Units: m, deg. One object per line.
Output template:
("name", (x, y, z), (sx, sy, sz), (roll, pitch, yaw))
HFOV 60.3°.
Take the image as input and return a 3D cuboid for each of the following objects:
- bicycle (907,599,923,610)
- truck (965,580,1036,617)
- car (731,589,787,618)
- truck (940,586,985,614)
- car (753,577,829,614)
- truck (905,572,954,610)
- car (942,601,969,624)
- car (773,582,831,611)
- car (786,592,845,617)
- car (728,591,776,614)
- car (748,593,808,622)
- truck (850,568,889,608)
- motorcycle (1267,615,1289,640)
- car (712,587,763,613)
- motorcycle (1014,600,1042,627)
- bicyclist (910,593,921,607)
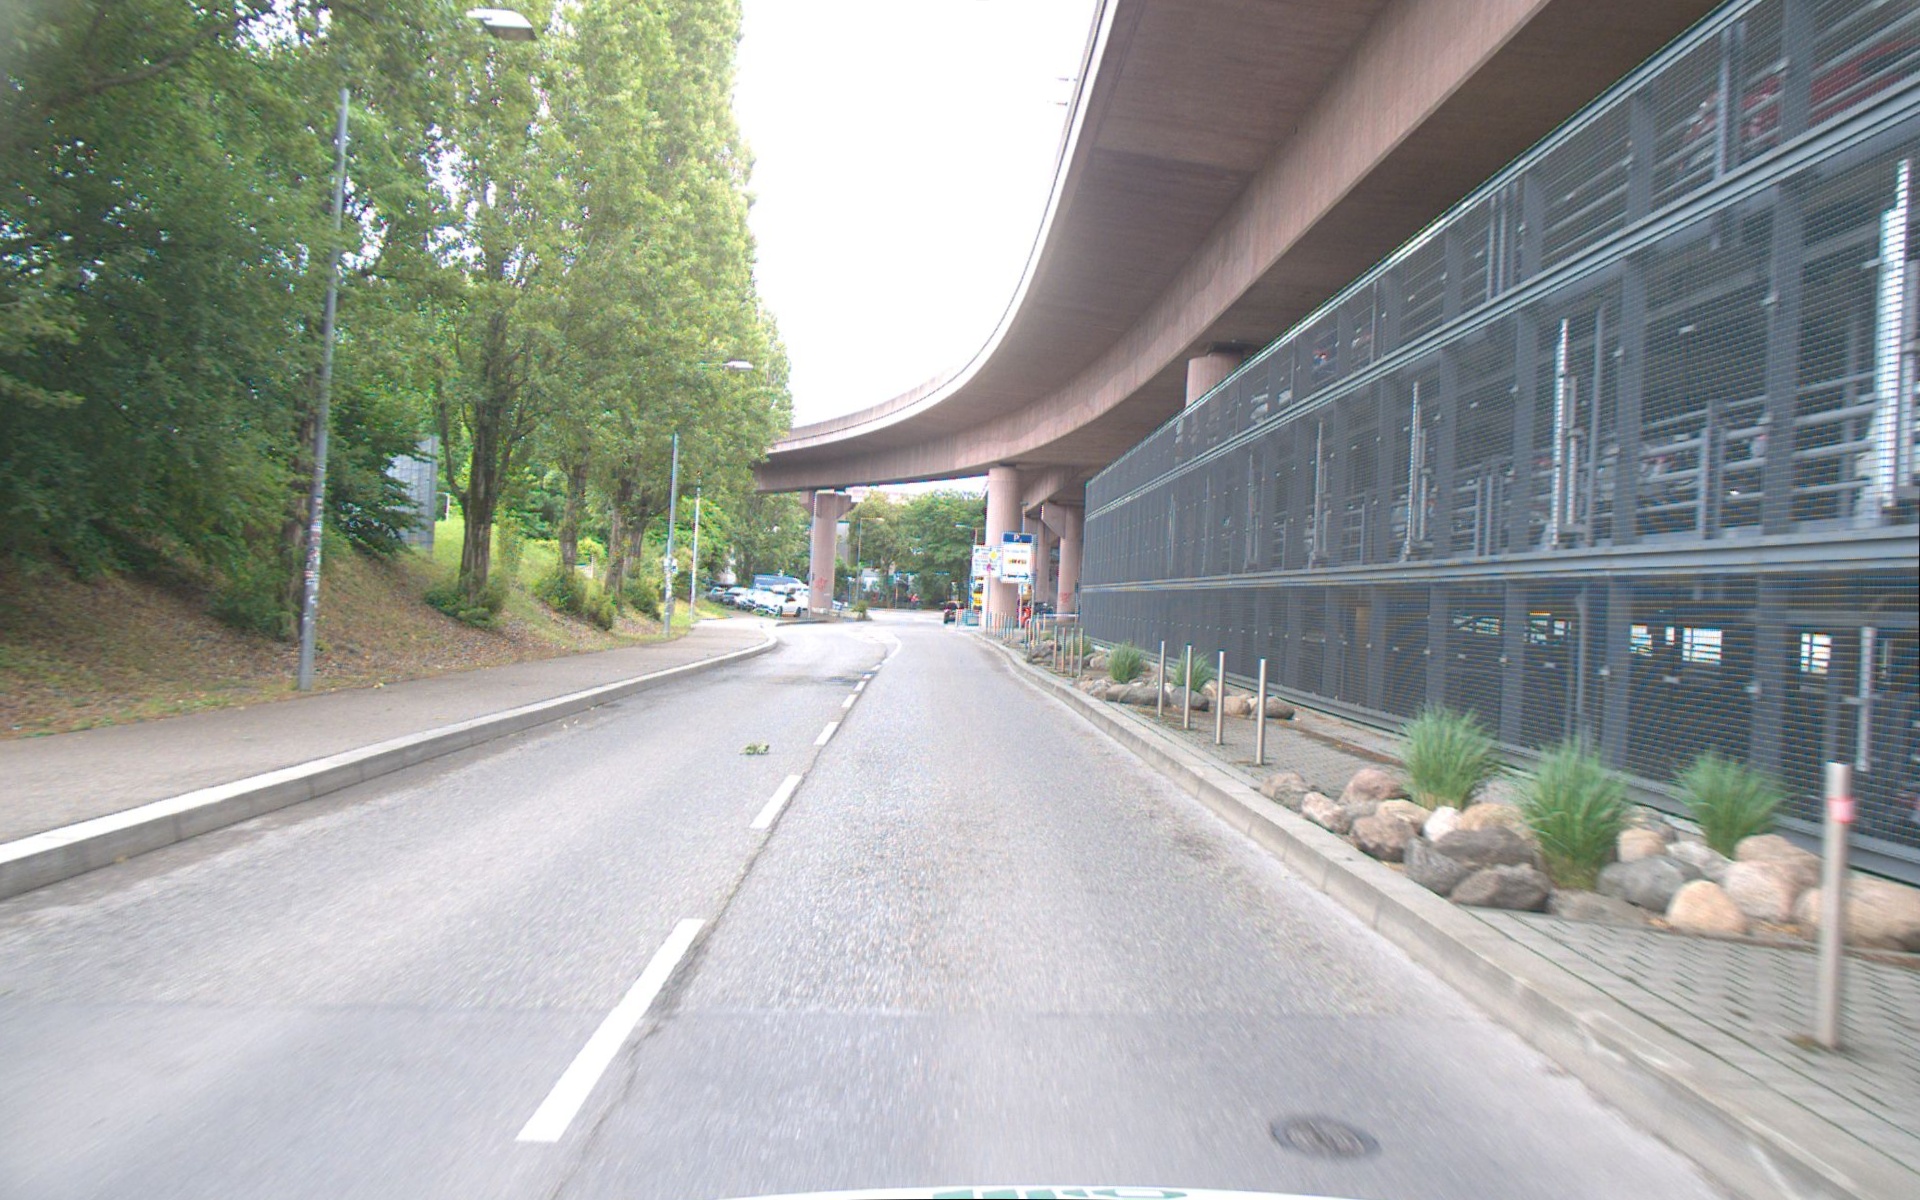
("bicycle", (-4.699, 0.419, 172.456), (0.794, 1.117, 2.108), (1, 0, -32))
("truck", (4.312, -0.212, 172.253), (2.882, 3.540, 8.205), (6, 4, 39))
("car", (-13.812, 0.231, 113.849), (1.954, 1.609, 4.400), (7, 0, 20))
("truck", (0.267, -0.022, 190.905), (2.874, 2.949, 6.516), (1, 2, -22))
("car", (-14.601, -0.404, 143.093), (6.047, 2.772, 2.369), (4, 0, 3))
("truck", (-3.538, -1.054, 189.405), (3.022, 3.935, 7.997), (1, 2, -22))
("car", (-0.365, 0.958, 132.071), (1.953, 1.708, 4.558), (2, 0, -2))
("car", (-13.369, -0.312, 140.270), (4.460, 2.148, 1.852), (4, 0, 7))
("car", (-11.723, 0.349, 134.504), (4.288, 1.633, 1.956), (5, 0, 12))
("car", (-14.746, 0.220, 117.332), (1.750, 1.479, 3.746), (2, 0, 22))
("car", (-12.077, 0.513, 109.816), (1.953, 1.505, 4.829), (6, -1, 19))
("truck", (-11.782, -1.590, 213.472), (3.152, 4.863, 8.012), (1, 2, -17))
("motorcycle", (17.636, 1.522, 91.792), (0.560, 1.124, 2.329), (2, 4, -3))
("car", (-16.149, 0.033, 120.267), (1.819, 1.720, 4.163), (3, -1, 22))
("motorcycle", (3.672, 0.726, 89.442), (0.783, 1.390, 2.119), (1, 0, -18))
("bicyclist", (-4.644, -0.036, 172.382), (0.788, 1.430, 1.055), (1, 0, -32))
